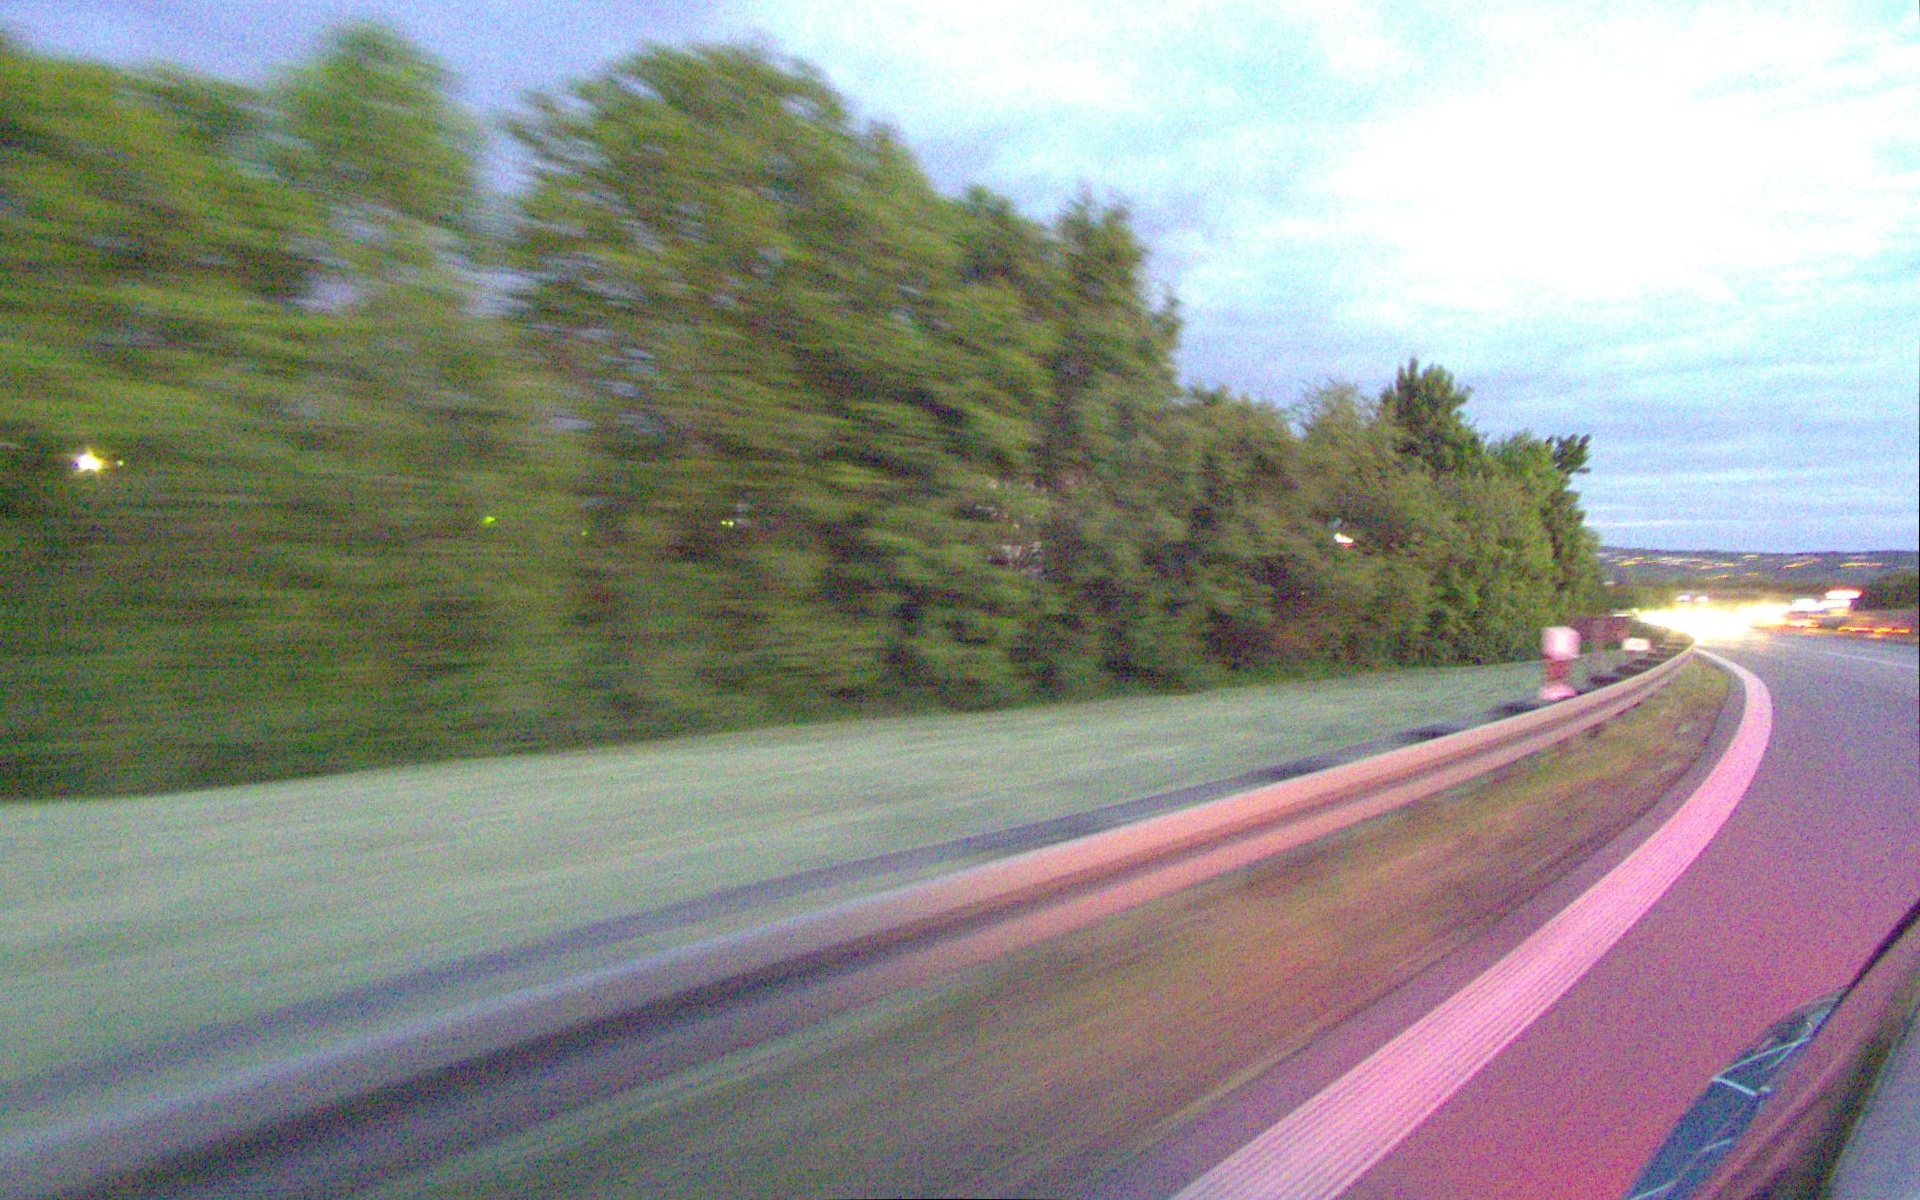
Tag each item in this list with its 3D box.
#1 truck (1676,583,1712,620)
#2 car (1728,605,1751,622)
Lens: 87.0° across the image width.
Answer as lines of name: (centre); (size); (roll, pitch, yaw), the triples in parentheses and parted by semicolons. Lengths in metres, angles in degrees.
truck: (94.787, 0.221, 130.830); (3.336, 4.371, 11.180); (5, 2, 35)
car: (97.930, 1.675, 127.153); (1.988, 2.038, 3.949); (5, 3, 35)
